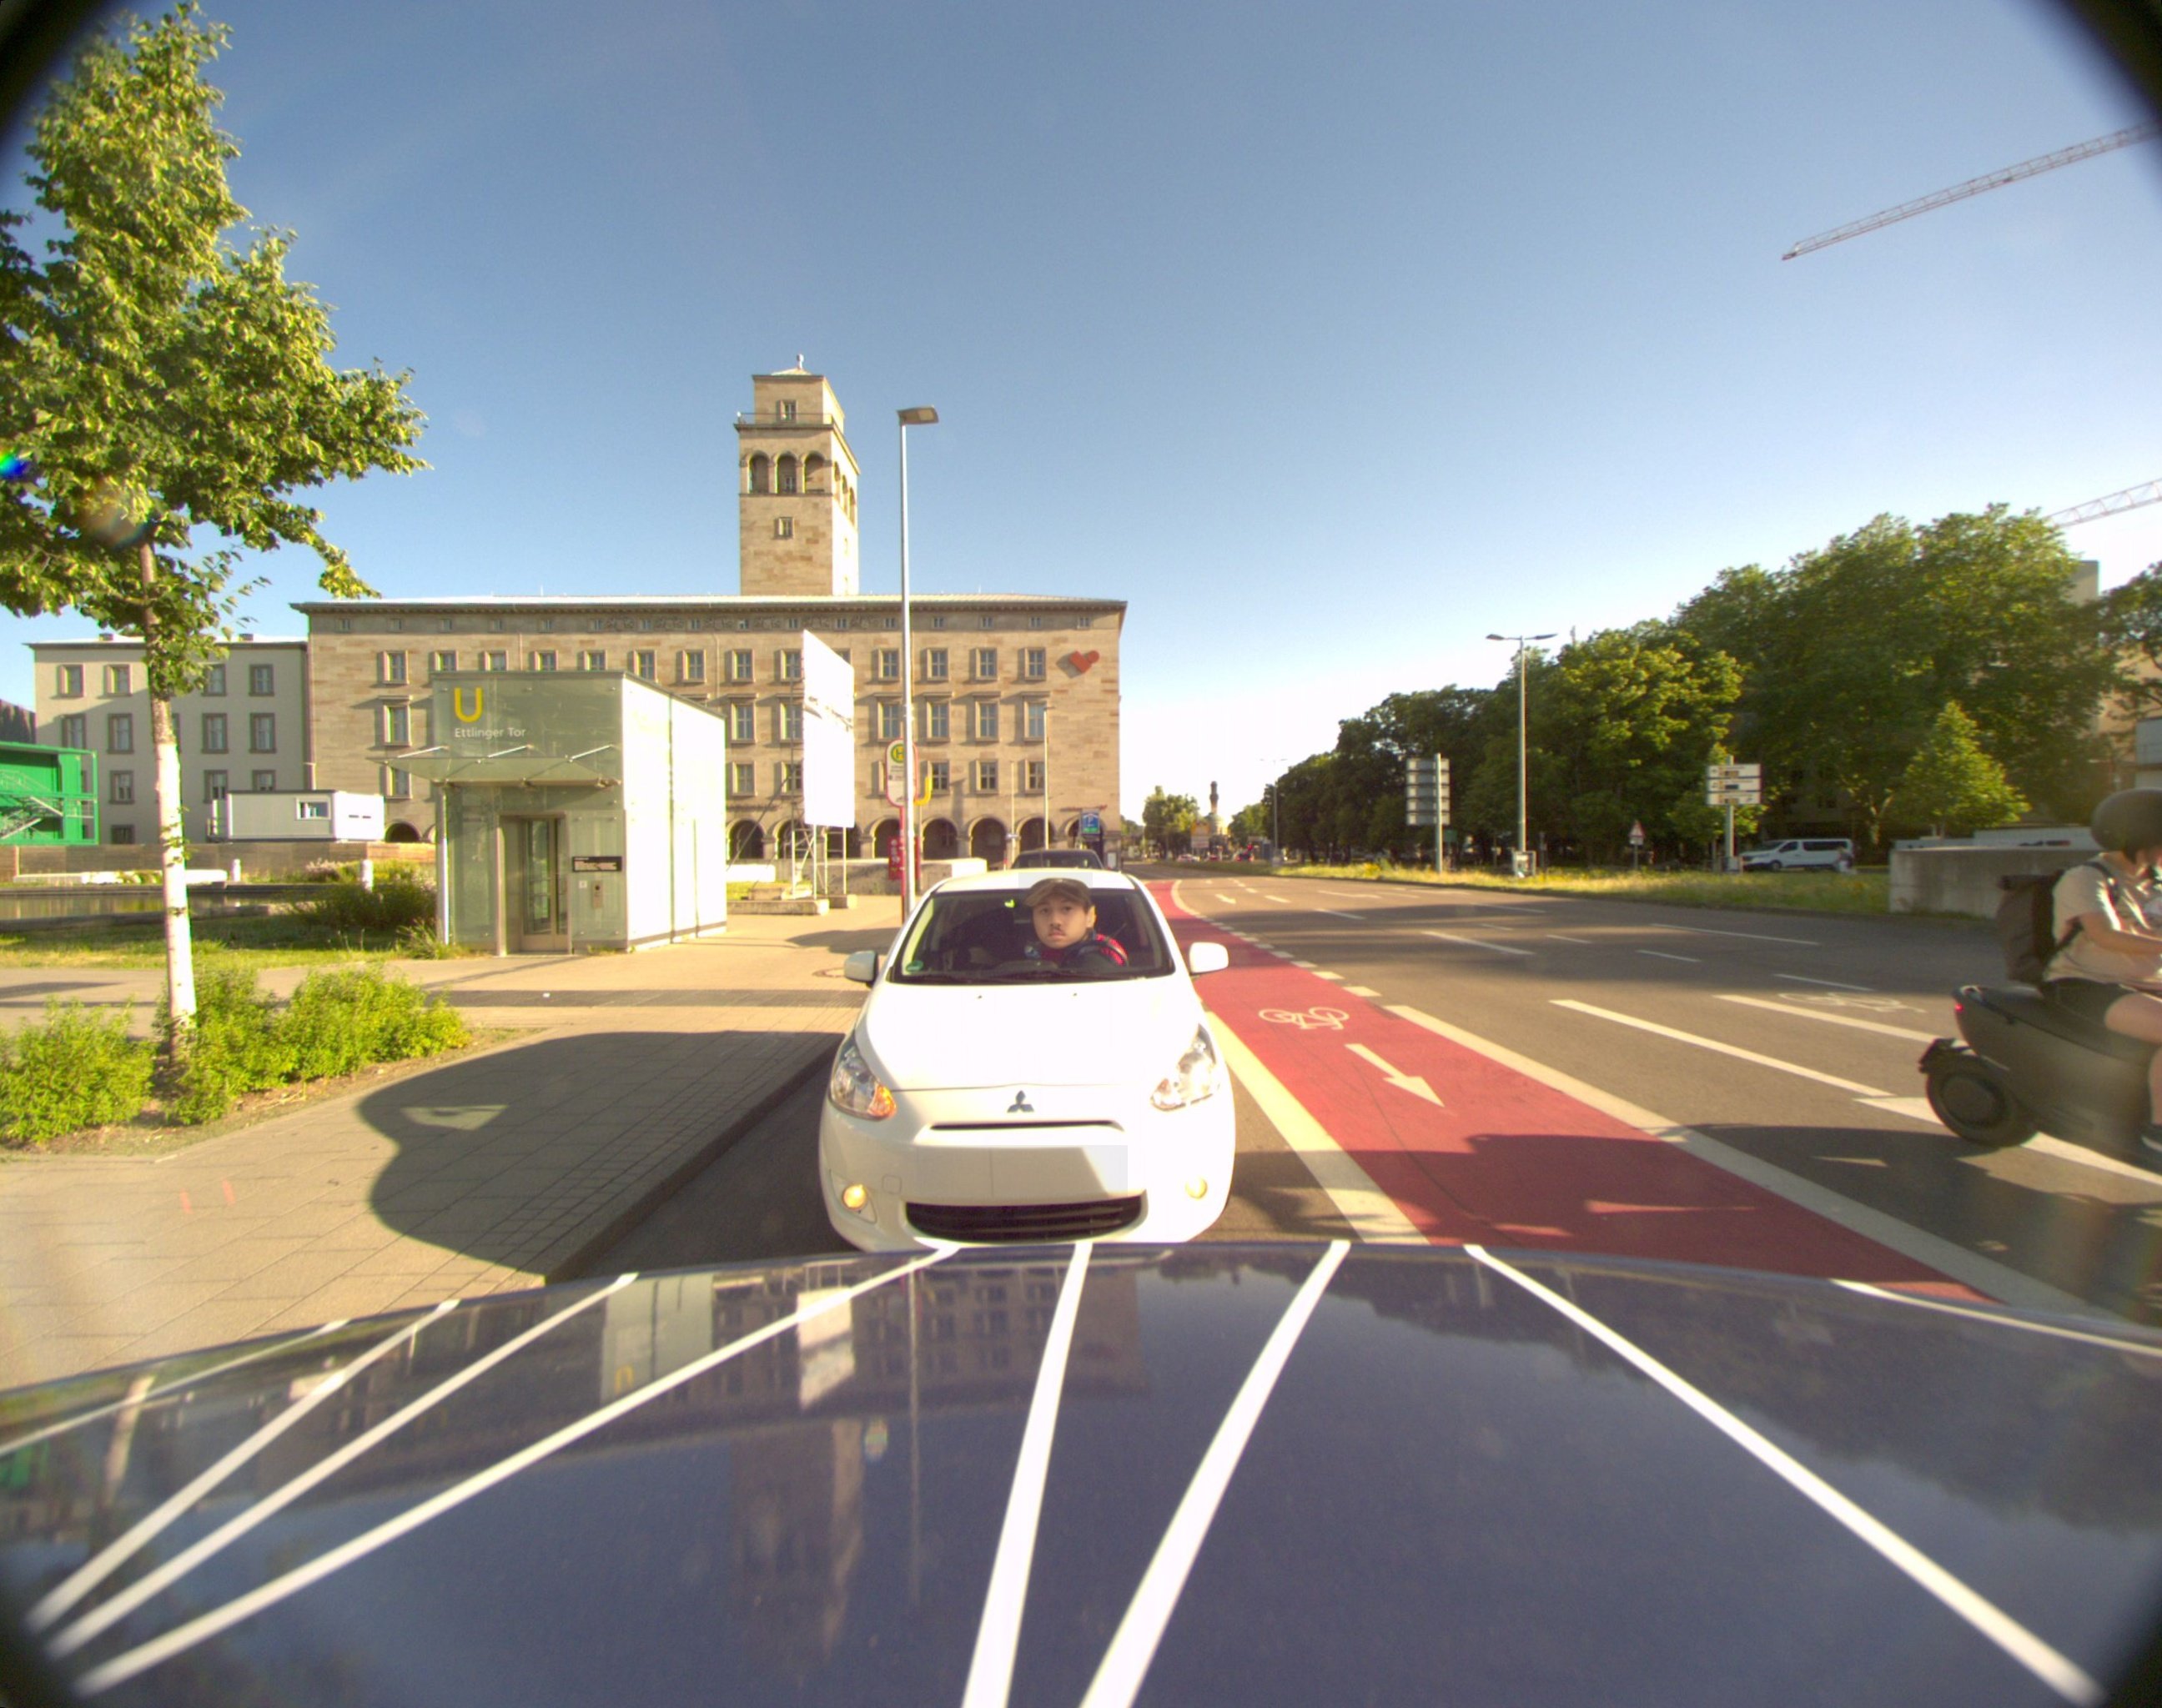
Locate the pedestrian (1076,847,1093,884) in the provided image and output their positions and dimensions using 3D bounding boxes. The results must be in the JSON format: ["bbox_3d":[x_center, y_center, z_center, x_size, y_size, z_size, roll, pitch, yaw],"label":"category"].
[{"bbox_3d":[0.241,0.802,53.398,1.122,2.524,1.055,-2,1,1],"label":"pedestrian"}]

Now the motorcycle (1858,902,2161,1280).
[{"bbox_3d":[4.281,0.898,2.884,0.724,1.286,1.884,-2,0,1],"label":"motorcycle"}]

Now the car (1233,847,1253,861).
[{"bbox_3d":[21.625,-0.010,101.565,1.819,1.817,3.999,-2,1,1],"label":"car"}]

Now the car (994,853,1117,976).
[{"bbox_3d":[-0.375,0.839,12.518,1.642,1.653,3.849,-2,0,-1],"label":"car"}]

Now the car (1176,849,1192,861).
[{"bbox_3d":[16.316,0.166,120.493,1.849,1.677,3.999,-2,1,1],"label":"car"}]

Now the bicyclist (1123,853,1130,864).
[{"bbox_3d":[5.667,0.606,94.843,0.854,1.340,0.829,-2,1,1],"label":"bicyclist"}]

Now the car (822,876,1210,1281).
[{"bbox_3d":[-0.235,0.953,4.838,1.496,1.477,3.604,-2,0,1],"label":"car"}]

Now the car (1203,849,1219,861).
[{"bbox_3d":[20.582,0.117,120.440,1.747,1.778,3.947,-2,1,1],"label":"car"}]

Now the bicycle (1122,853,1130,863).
[{"bbox_3d":[5.657,0.483,94.963,0.854,1.109,2.808,-2,0,1],"label":"bicycle"}]

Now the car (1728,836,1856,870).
[{"bbox_3d":[42.131,-0.053,45.110,5.516,1.924,2.065,-1,1,2],"label":"car"}]

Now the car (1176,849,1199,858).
[{"bbox_3d":[20.095,-0.101,143.670,1.854,1.677,3.989,-3,1,-41],"label":"car"}]

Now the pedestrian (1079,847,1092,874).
[{"bbox_3d":[0.414,0.600,70.648,1.122,2.524,1.055,-2,1,1],"label":"pedestrian"}]

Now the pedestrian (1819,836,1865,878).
[{"bbox_3d":[33.973,0.137,33.933,0.989,1.821,1.019,-2,1,-3],"label":"pedestrian"}]

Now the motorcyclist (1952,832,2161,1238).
[{"bbox_3d":[4.274,0.654,2.938,0.727,1.466,0.917,-2,0,1],"label":"motorcyclist"}]
